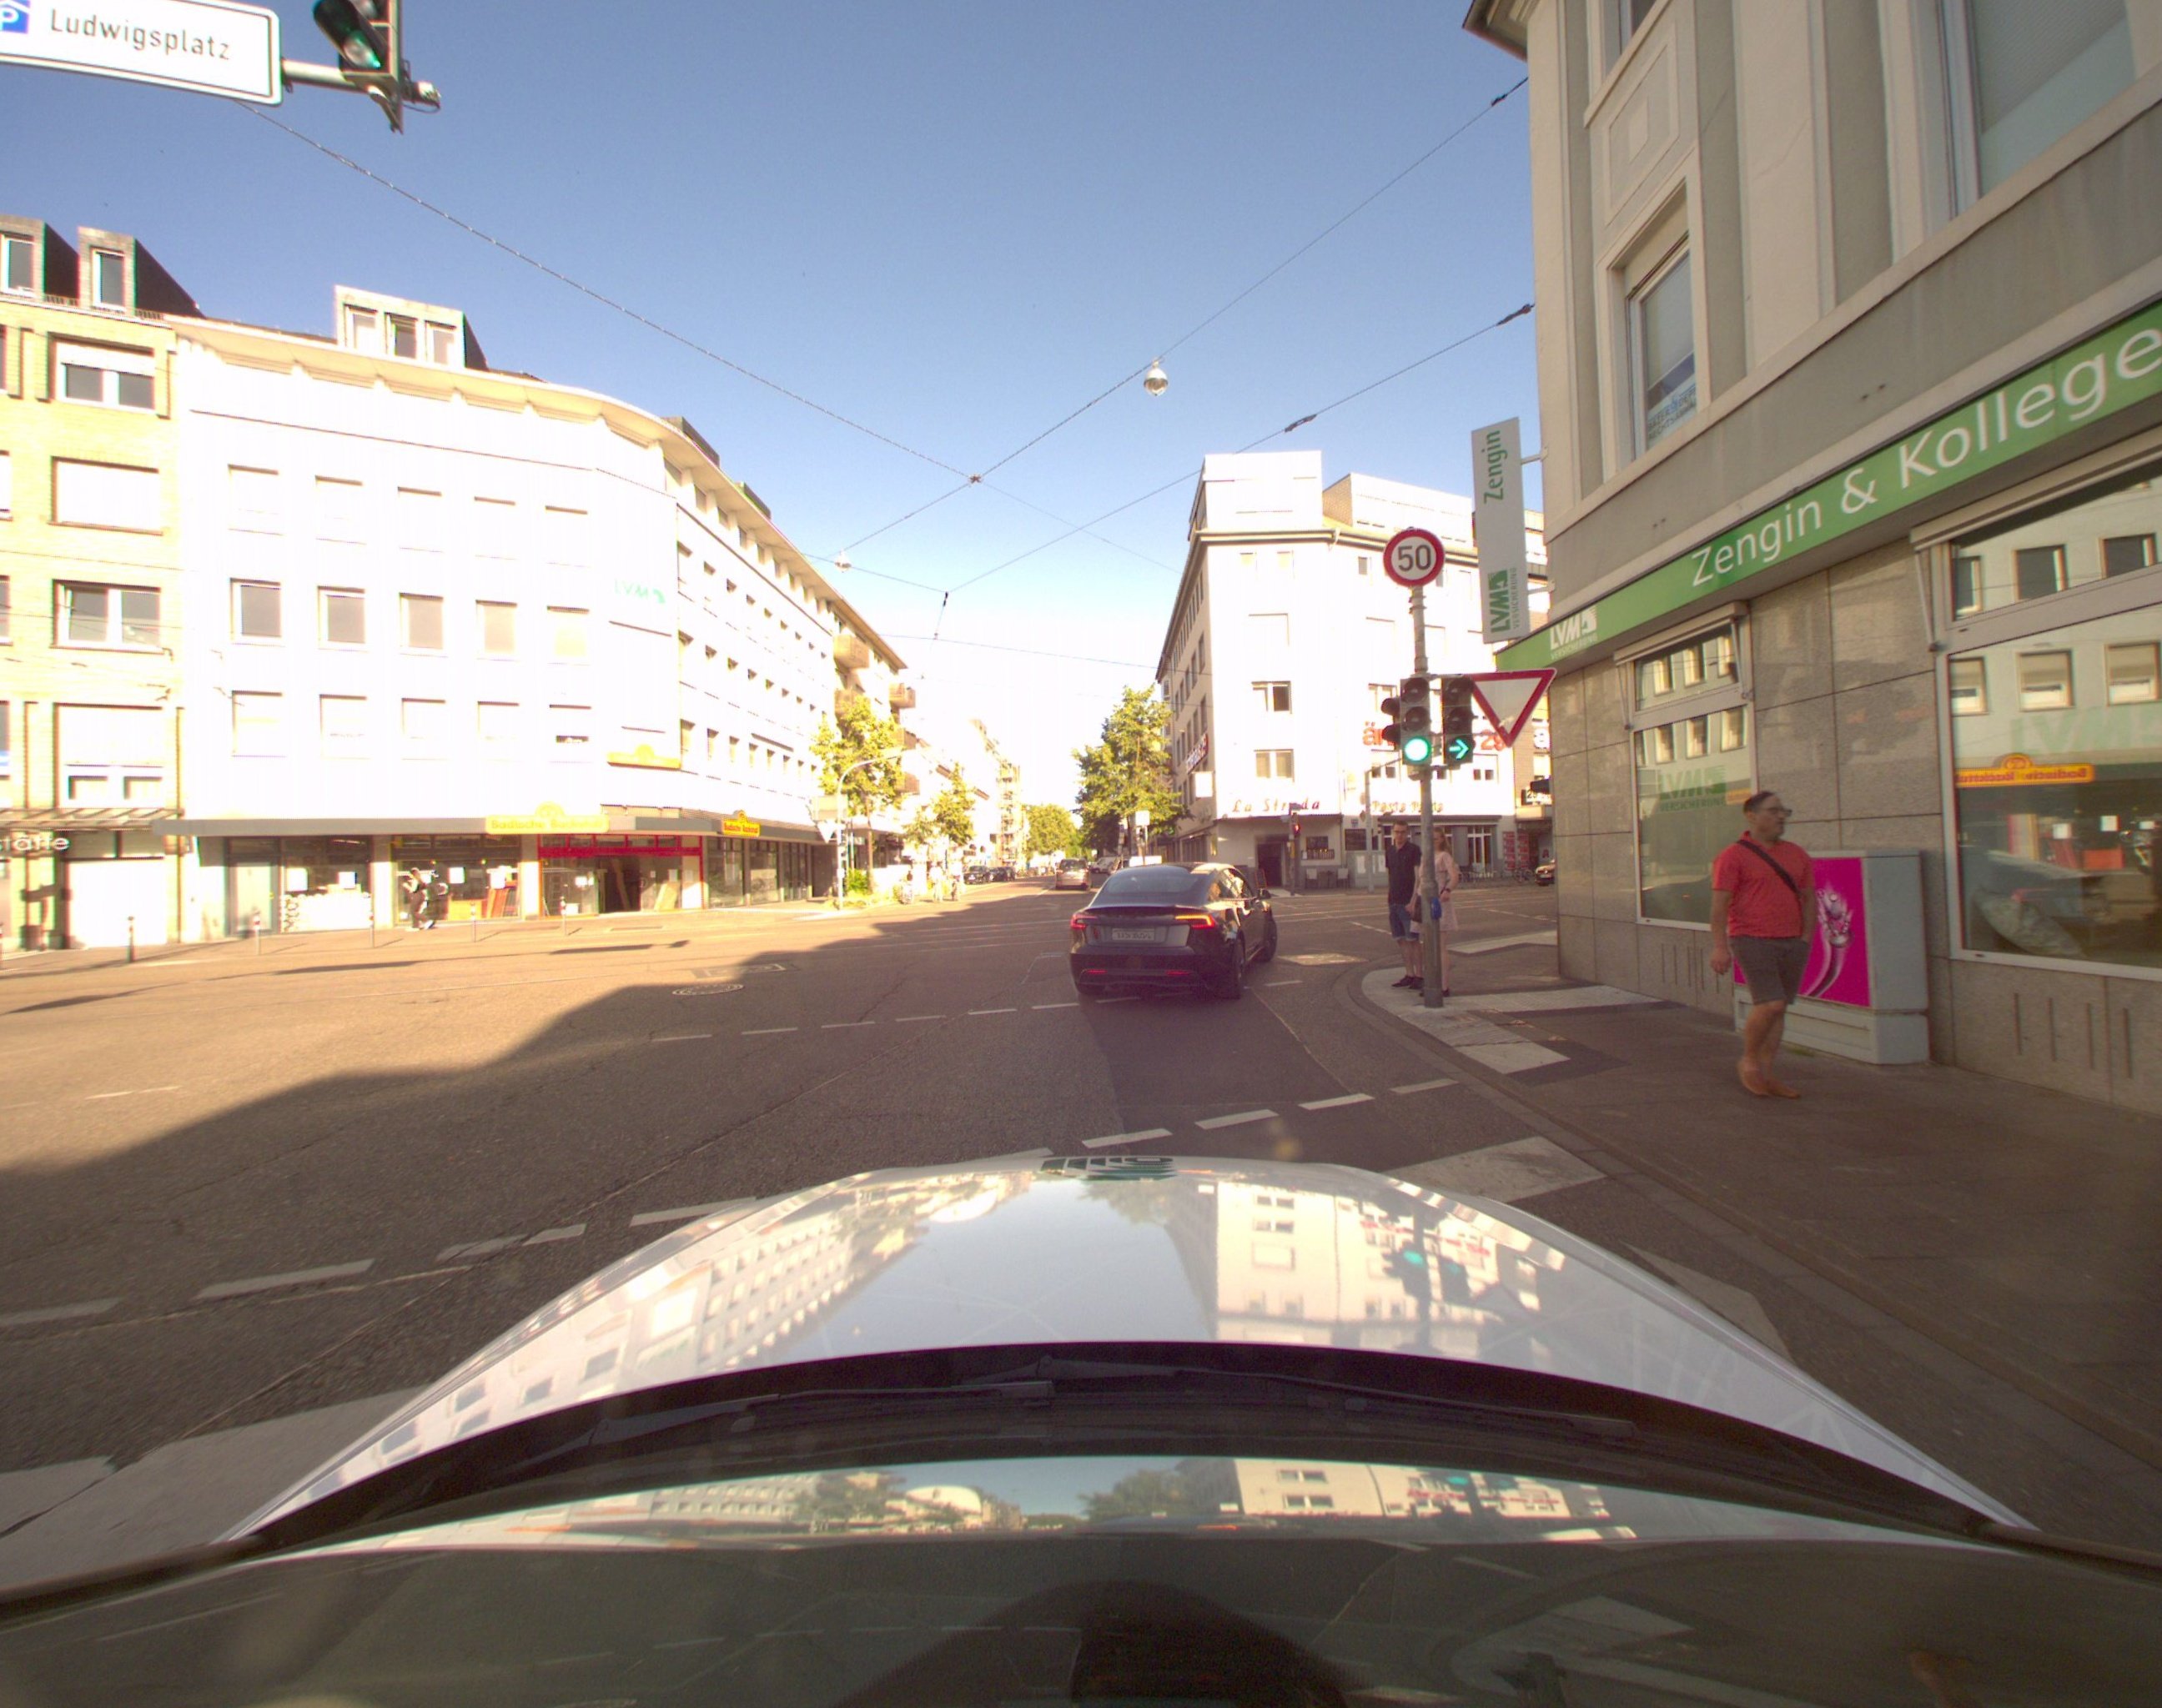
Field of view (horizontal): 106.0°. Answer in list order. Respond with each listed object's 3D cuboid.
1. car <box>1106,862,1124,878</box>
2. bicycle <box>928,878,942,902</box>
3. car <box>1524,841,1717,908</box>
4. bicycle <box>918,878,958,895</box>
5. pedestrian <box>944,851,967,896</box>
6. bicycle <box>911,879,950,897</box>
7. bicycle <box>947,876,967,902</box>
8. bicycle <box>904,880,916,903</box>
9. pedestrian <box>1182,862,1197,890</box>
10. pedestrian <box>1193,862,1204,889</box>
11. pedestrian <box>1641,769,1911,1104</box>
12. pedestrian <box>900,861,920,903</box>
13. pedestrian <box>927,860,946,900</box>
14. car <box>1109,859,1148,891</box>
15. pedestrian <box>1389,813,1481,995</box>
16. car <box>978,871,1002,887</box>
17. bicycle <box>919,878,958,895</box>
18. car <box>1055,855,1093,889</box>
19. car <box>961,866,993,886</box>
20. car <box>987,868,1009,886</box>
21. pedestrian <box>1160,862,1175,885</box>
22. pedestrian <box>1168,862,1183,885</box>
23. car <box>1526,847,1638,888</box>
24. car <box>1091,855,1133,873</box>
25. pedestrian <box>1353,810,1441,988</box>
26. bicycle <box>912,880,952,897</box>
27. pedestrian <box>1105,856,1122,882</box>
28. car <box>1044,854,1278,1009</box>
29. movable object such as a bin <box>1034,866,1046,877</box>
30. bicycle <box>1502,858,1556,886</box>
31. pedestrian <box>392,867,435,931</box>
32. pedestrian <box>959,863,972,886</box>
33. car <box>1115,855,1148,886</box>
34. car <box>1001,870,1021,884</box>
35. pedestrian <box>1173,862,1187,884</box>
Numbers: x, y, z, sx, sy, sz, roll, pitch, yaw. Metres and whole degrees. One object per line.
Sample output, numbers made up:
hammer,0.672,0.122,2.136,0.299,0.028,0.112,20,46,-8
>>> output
car,3.984,1.864,95.356,1.986,1.824,4.002,-1,-1,2
bicycle,-6.306,1.532,35.268,0.552,0.968,1.788,-2,-1,-10
car,12.723,0.453,19.183,4.361,1.419,1.753,-1,-1,-25
bicycle,-8.941,2.031,50.927,2.389,0.978,0.654,-2,-1,-9
pedestrian,-5.458,0.841,35.390,0.779,1.866,0.997,-4,0,-13
bicycle,-9.032,2.027,48.877,2.221,0.958,0.653,-2,-1,-11
bicycle,-5.411,1.499,35.384,0.758,1.007,1.719,-5,-1,-10
bicycle,-7.278,1.580,34.604,0.480,0.955,1.449,-2,-1,-12
pedestrian,5.270,1.068,39.606,0.584,1.313,0.560,-2,-1,1
pedestrian,5.842,1.059,40.377,0.485,1.322,0.655,-2,-1,9
pedestrian,3.906,0.430,4.668,0.687,1.703,0.913,-3,-1,2
pedestrian,-7.205,1.177,34.274,0.791,1.712,0.651,-1,-1,-14
pedestrian,-6.311,1.117,35.474,0.779,1.728,0.557,-1,-1,-13
car,2.591,1.138,45.406,1.993,1.636,4.289,-2,-1,1
pedestrian,3.613,0.497,8.356,0.570,1.759,0.649,-3,-1,1
car,-8.554,2.342,76.523,1.780,1.402,3.905,-1,-1,0
bicycle,-9.056,2.045,51.763,2.396,1.006,0.653,-2,-1,-10
car,-0.325,0.963,44.224,1.897,1.733,4.289,-2,-1,1
car,-8.733,1.829,68.674,1.985,1.598,4.003,-1,-1,3
car,-8.251,2.283,81.475,1.712,1.610,3.597,-2,-1,1
pedestrian,5.311,1.202,50.214,0.707,1.347,1.059,-2,-1,-2
pedestrian,5.682,1.176,49.099,0.728,1.347,1.059,-2,-1,-1
car,20.364,0.540,33.119,4.142,1.446,1.705,-2,-3,-23
car,4.038,1.350,107.058,5.374,2.146,2.000,-2,-1,0
pedestrian,3.426,0.474,8.887,0.637,1.842,0.681,-2,-1,1
bicycle,-9.073,2.085,49.598,2.398,0.958,0.543,-2,-1,-11
pedestrian,2.482,1.107,61.802,0.950,1.915,1.110,-3,-1,17
car,1.242,0.763,10.069,1.854,1.427,4.385,-2,0,19
movable object such as a bin,-5.404,2.245,106.906,1.311,1.408,1.065,-2,-1,-16
bicycle,20.559,0.827,37.393,0.776,1.223,2.091,-1,0,-27
pedestrian,-18.516,1.232,22.590,0.557,1.709,0.712,-2,-1,-2
pedestrian,-10.495,1.887,73.915,0.952,2.013,1.085,-5,0,-12
car,3.162,1.048,51.749,1.897,1.852,4.289,-2,-1,1
car,-7.376,2.458,86.312,1.780,1.402,3.905,-1,-1,0
pedestrian,6.095,1.173,50.362,0.728,1.360,0.959,-2,-1,1
